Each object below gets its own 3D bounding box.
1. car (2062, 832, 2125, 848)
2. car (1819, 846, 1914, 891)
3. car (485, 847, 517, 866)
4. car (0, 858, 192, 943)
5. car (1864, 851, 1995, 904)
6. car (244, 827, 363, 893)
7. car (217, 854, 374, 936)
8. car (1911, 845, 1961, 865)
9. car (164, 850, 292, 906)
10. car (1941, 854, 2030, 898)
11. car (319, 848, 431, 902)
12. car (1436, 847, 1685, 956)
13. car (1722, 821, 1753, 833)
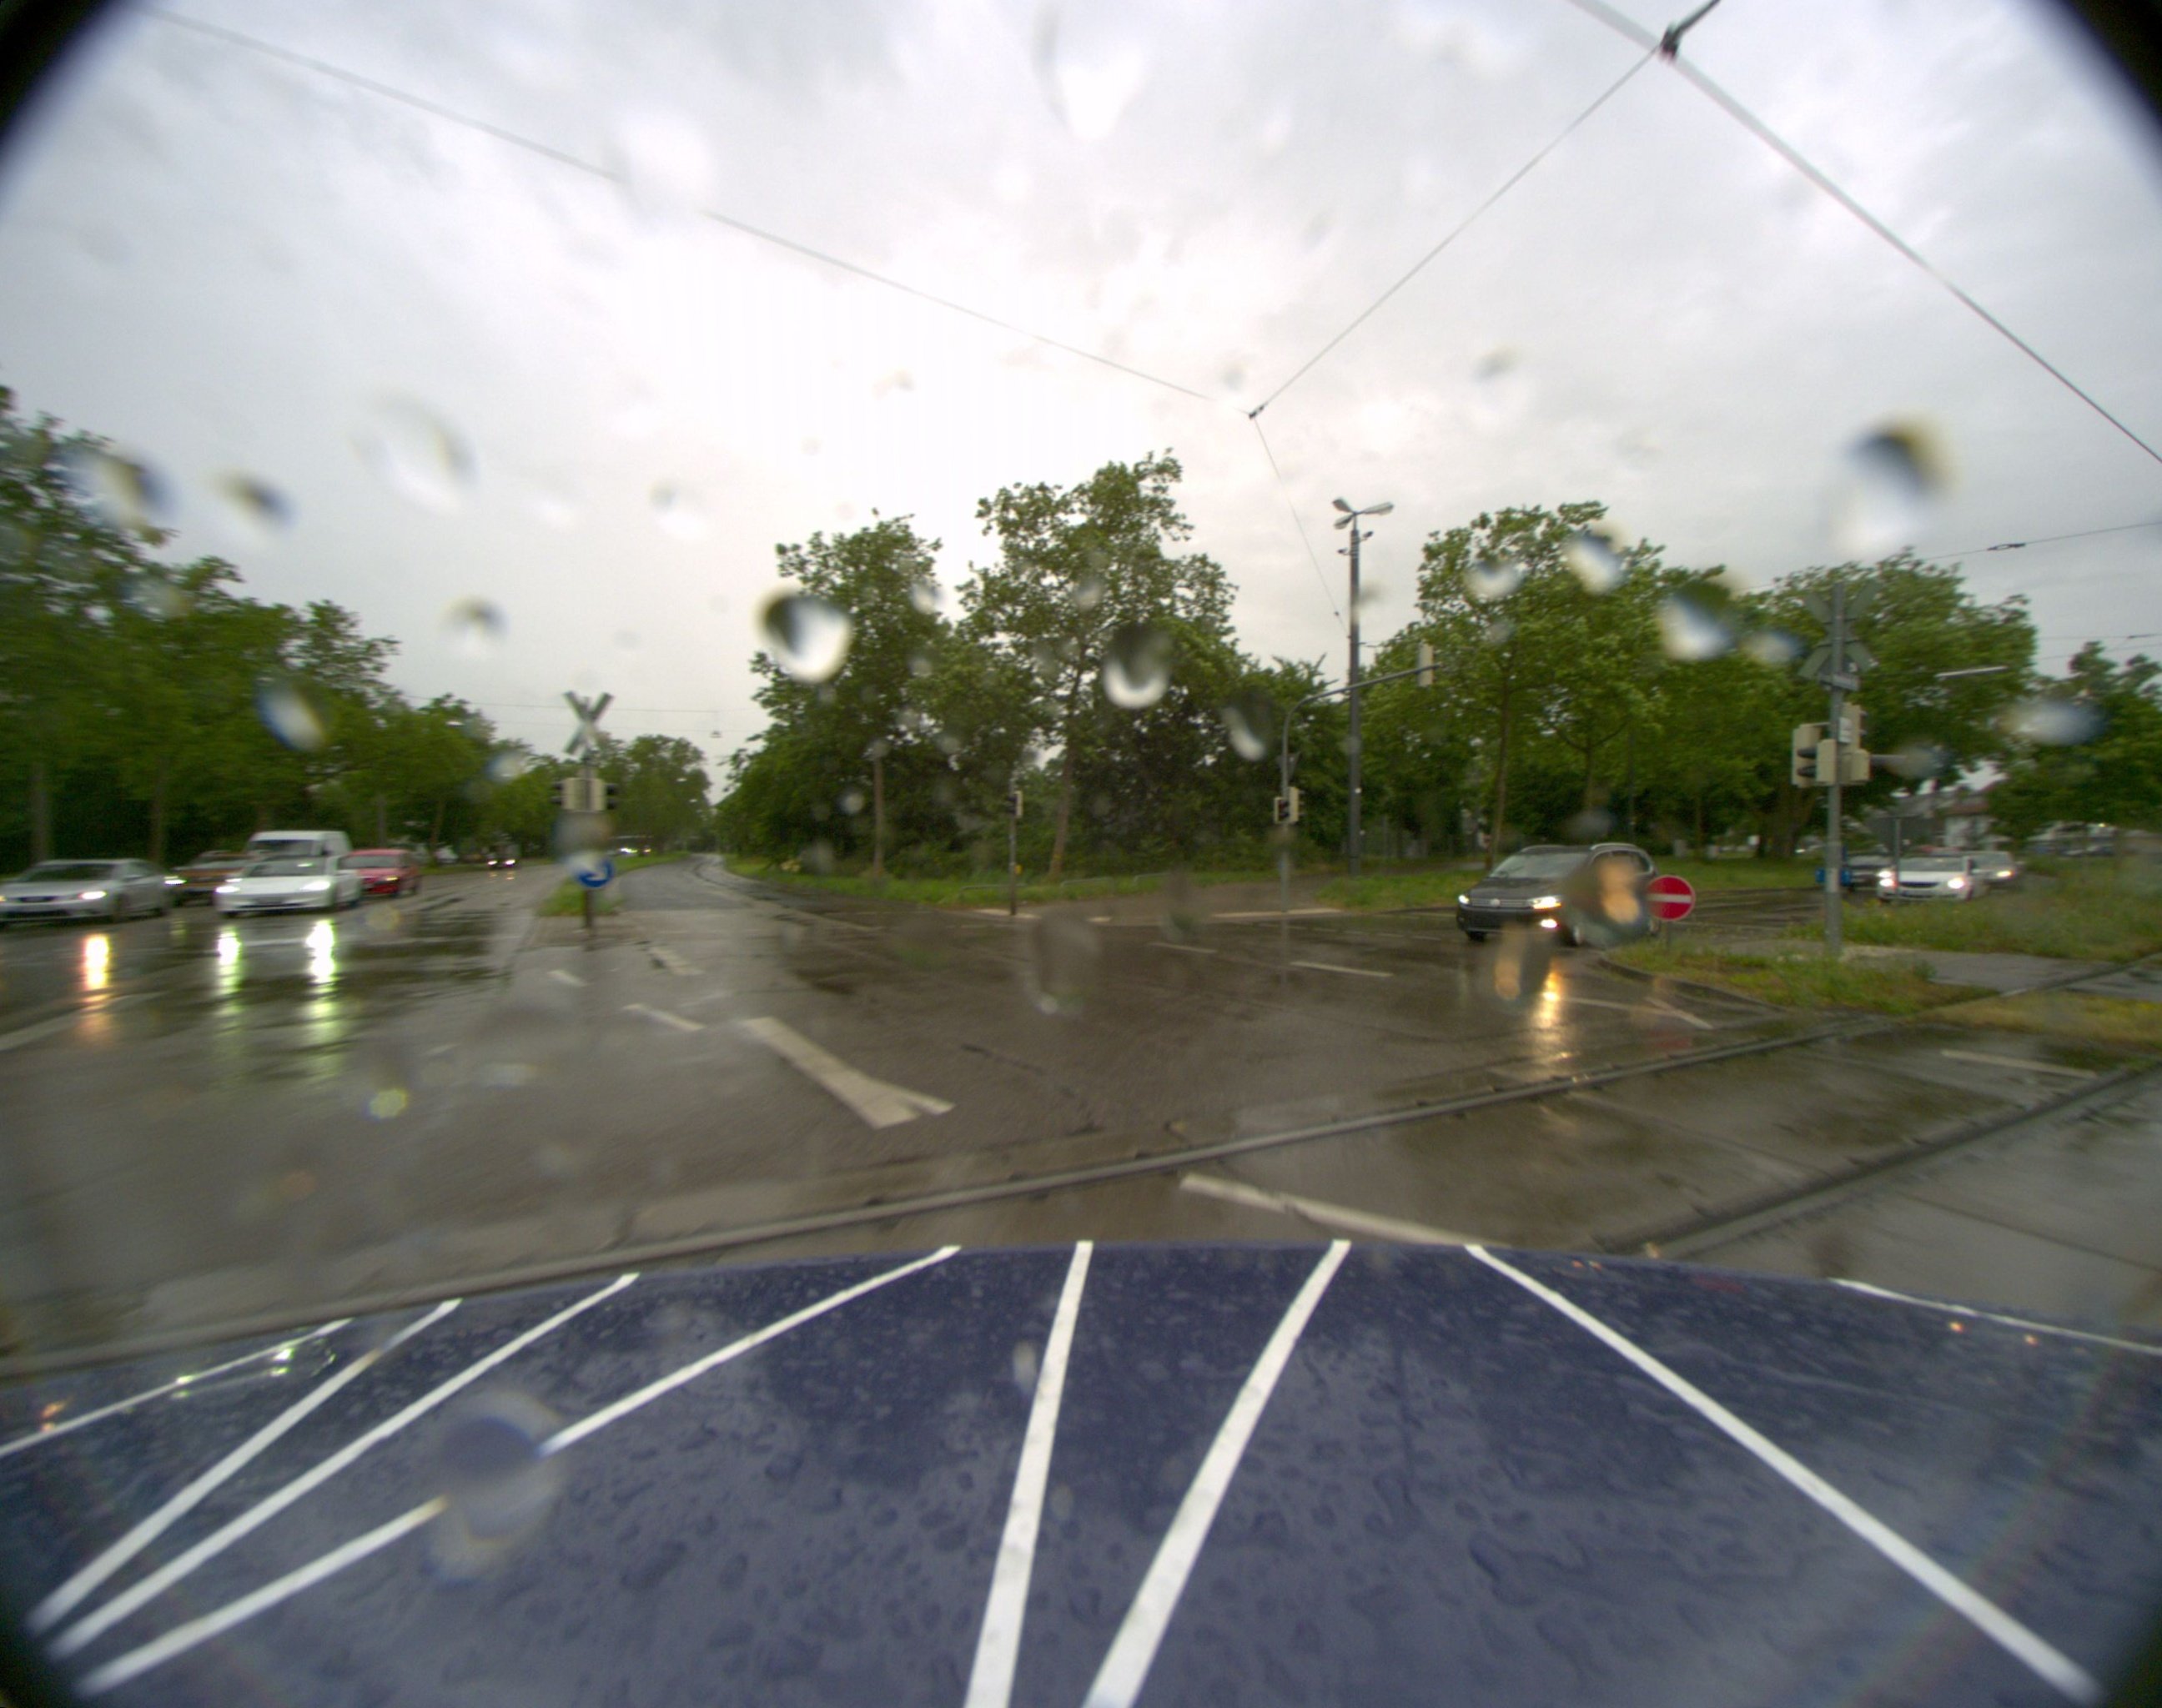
[{"bbox_3d":[119.389,-1.643,89.657,3.990,1.790,1.896,-1,-1,25],"label":"car"},{"bbox_3d":[30.735,0.527,29.719,3.815,1.608,1.869,-1,0,-33],"label":"car"},{"bbox_3d":[-51.607,0.213,67.687,2.004,1.630,3.990,-1,0,-34],"label":"car"},{"bbox_3d":[-22.553,0.972,17.313,1.938,1.681,4.396,-1,0,-35],"label":"car"},{"bbox_3d":[24.505,0.640,21.915,4.004,1.355,1.785,-1,0,-31],"label":"car"},{"bbox_3d":[-30.653,0.237,30.178,2.003,2.378,5.609,-1,0,-32],"label":"car"},{"bbox_3d":[-19.809,0.953,19.407,1.938,1.817,4.597,-1,0,-35],"label":"car"},{"bbox_3d":[59.155,0.055,52.637,1.784,1.372,3.873,-1,0,40],"label":"car"},{"bbox_3d":[-26.915,0.729,24.132,1.794,1.597,4.058,-1,0,-35],"label":"car"},{"bbox_3d":[31.570,0.723,26.500,3.801,1.395,1.785,-1,0,-37],"label":"car"},{"bbox_3d":[-23.104,0.643,25.059,1.794,1.597,4.608,-1,0,-32],"label":"car"},{"bbox_3d":[8.478,0.715,13.331,4.532,1.592,1.863,-1,0,-31],"label":"car"},{"bbox_3d":[117.400,-4.816,135.921,3.989,1.816,2.004,-1,0,36],"label":"car"}]
